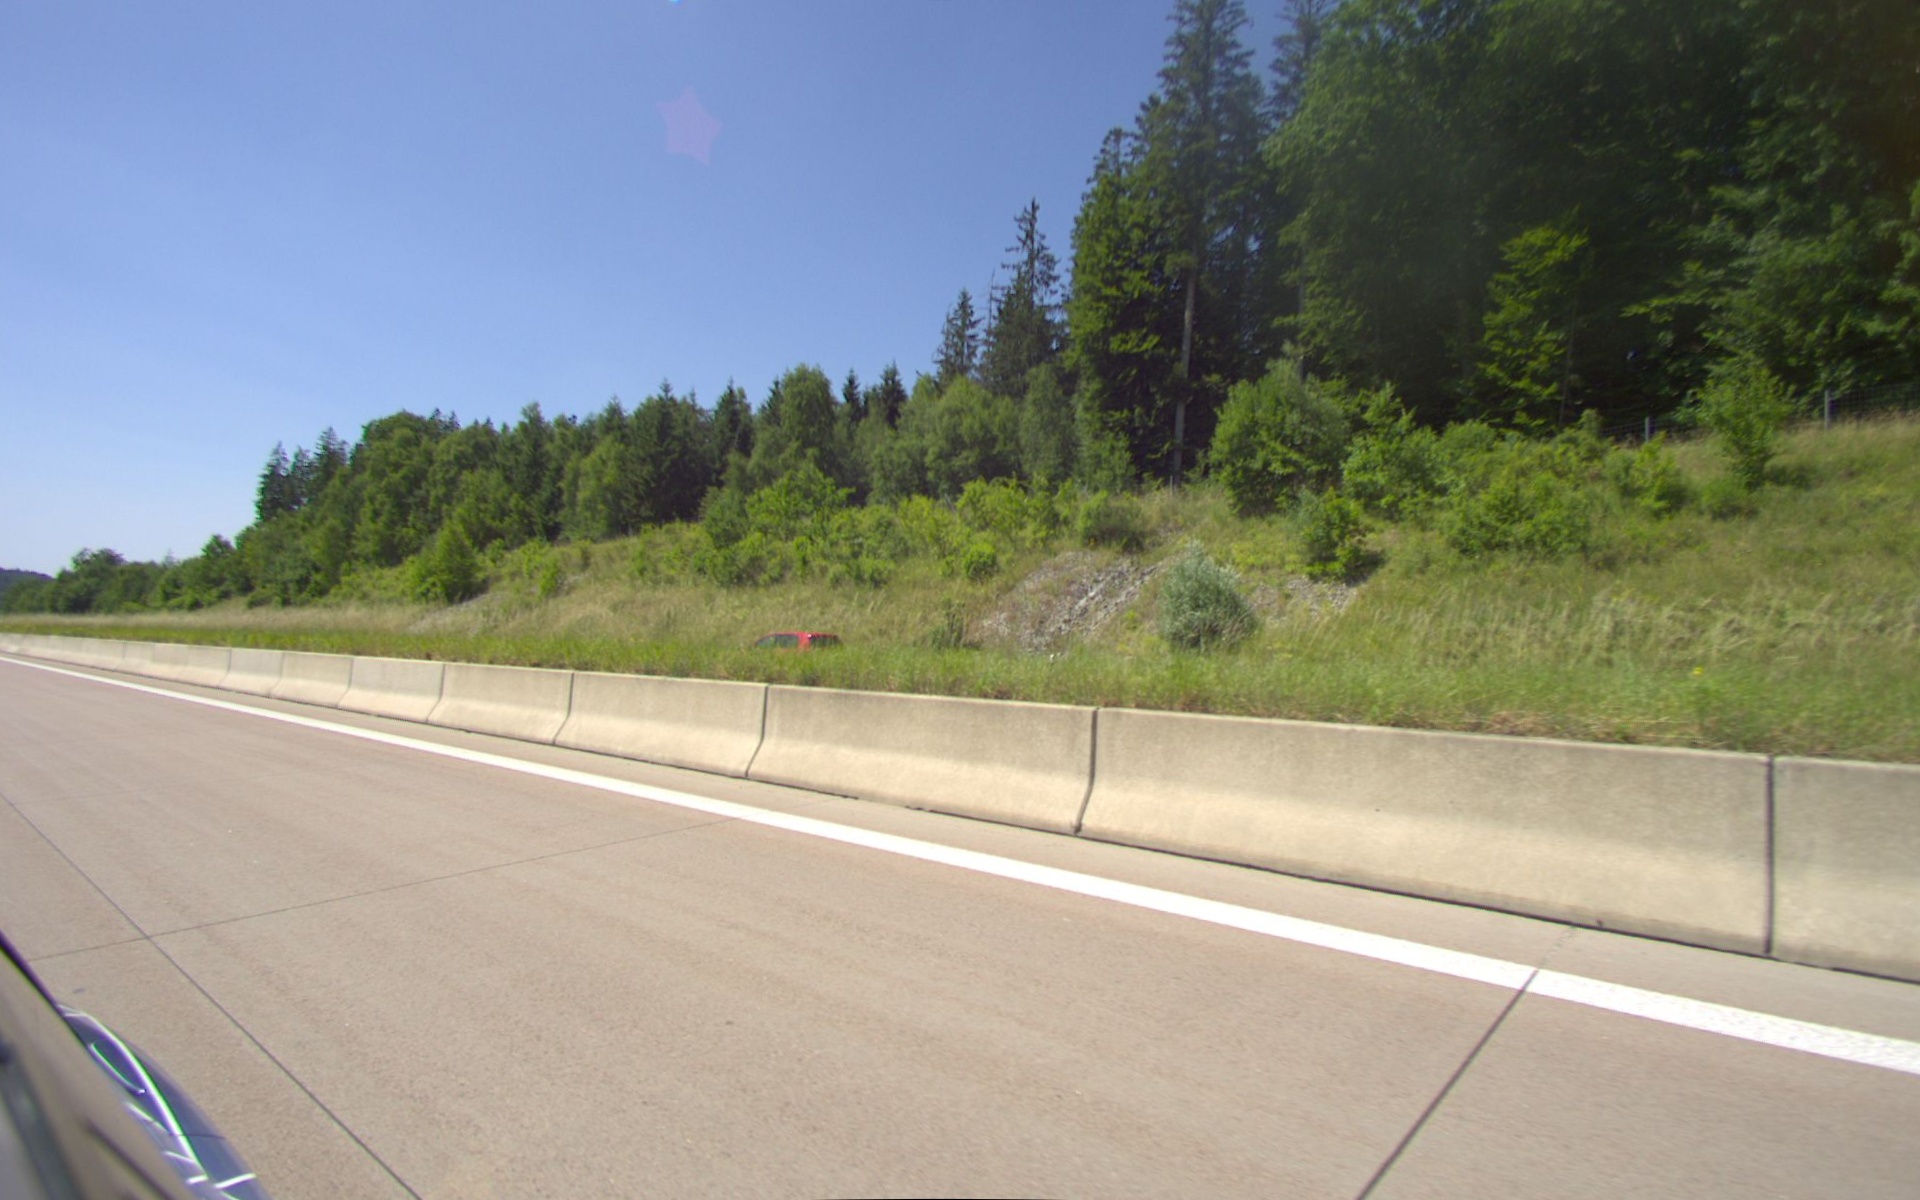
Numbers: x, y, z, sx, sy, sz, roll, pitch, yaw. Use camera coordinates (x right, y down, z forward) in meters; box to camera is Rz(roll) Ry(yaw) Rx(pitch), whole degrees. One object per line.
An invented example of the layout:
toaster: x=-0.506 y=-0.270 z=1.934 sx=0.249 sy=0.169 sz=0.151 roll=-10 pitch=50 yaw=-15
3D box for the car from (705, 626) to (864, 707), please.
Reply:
car: x=-5.047 y=1.803 z=28.756 sx=4.658 sy=2.080 sz=1.872 roll=-1 pitch=-1 yaw=39
